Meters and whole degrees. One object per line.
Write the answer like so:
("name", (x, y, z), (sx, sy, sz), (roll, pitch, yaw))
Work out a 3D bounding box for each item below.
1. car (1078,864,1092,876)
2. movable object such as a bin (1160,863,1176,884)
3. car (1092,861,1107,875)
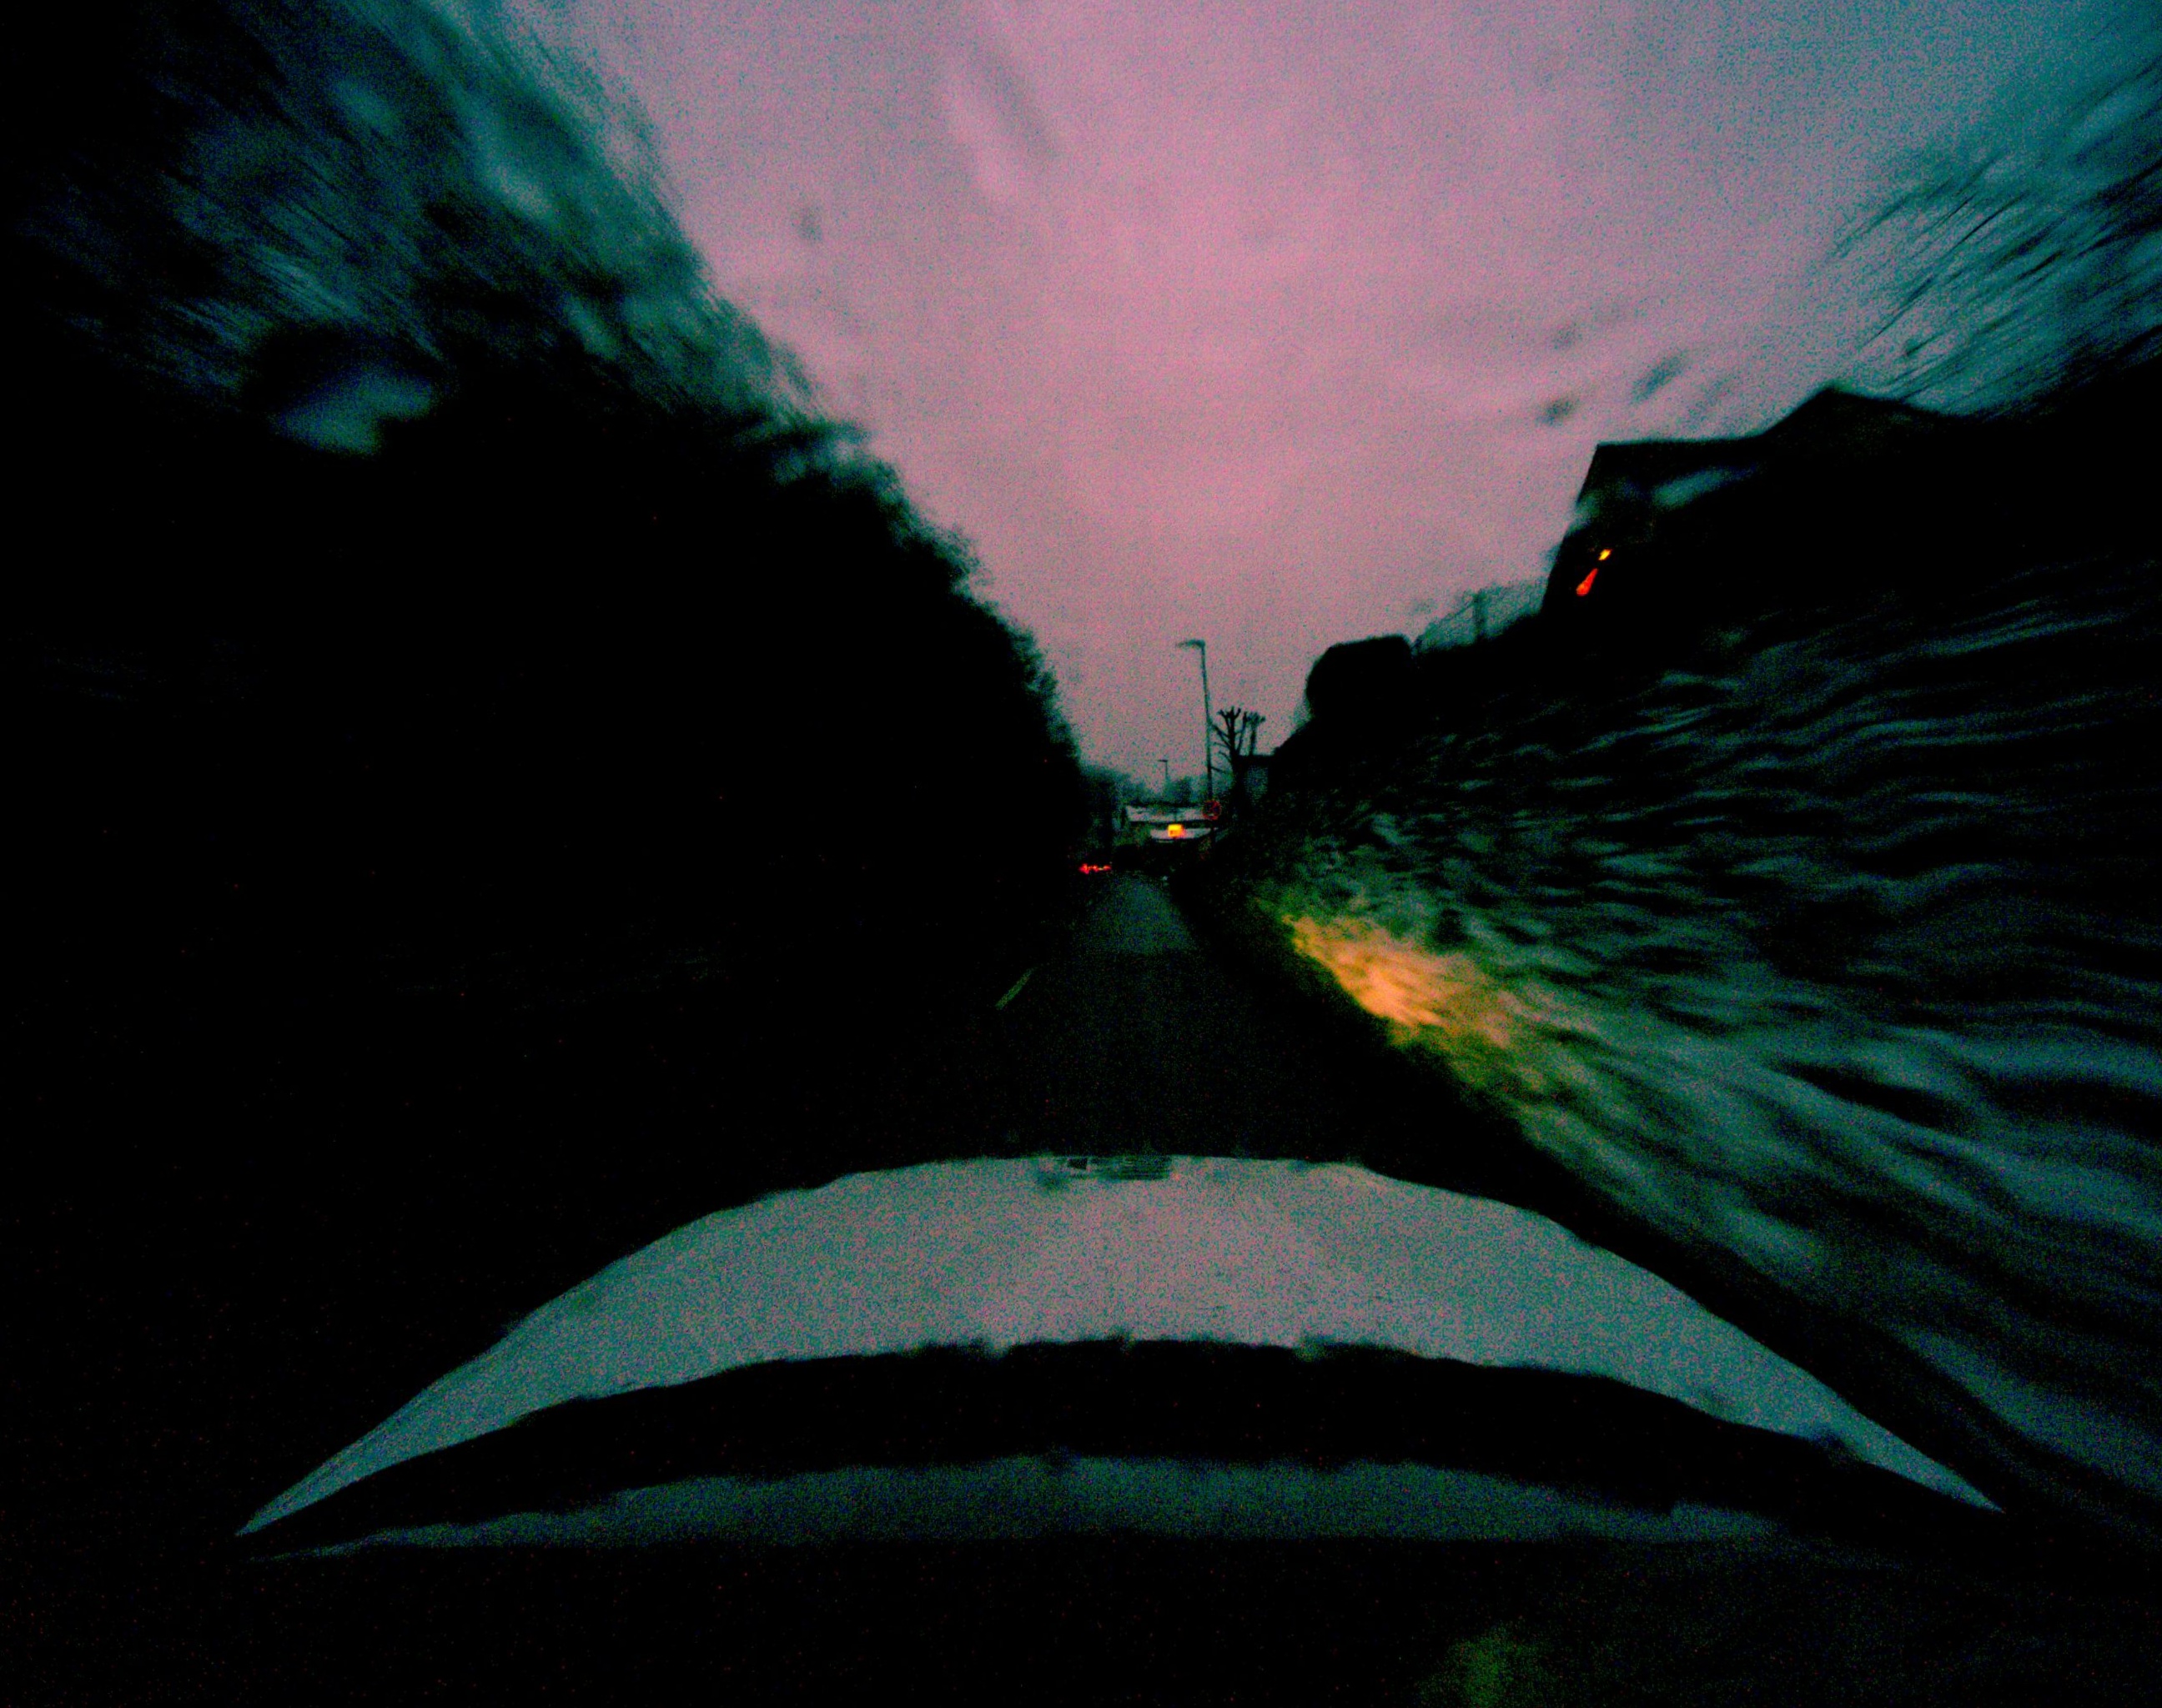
("car", (0.535, 2.337, 118.583), (1.797, 1.618, 4.002), (1, -2, 3))
("movable object such as a bin", (4.459, 0.990, 41.604), (0.681, 1.004, 0.859), (-4, -3, 11))
("car", (2.440, 1.844, 105.499), (1.797, 1.739, 4.002), (1, -2, 3))
